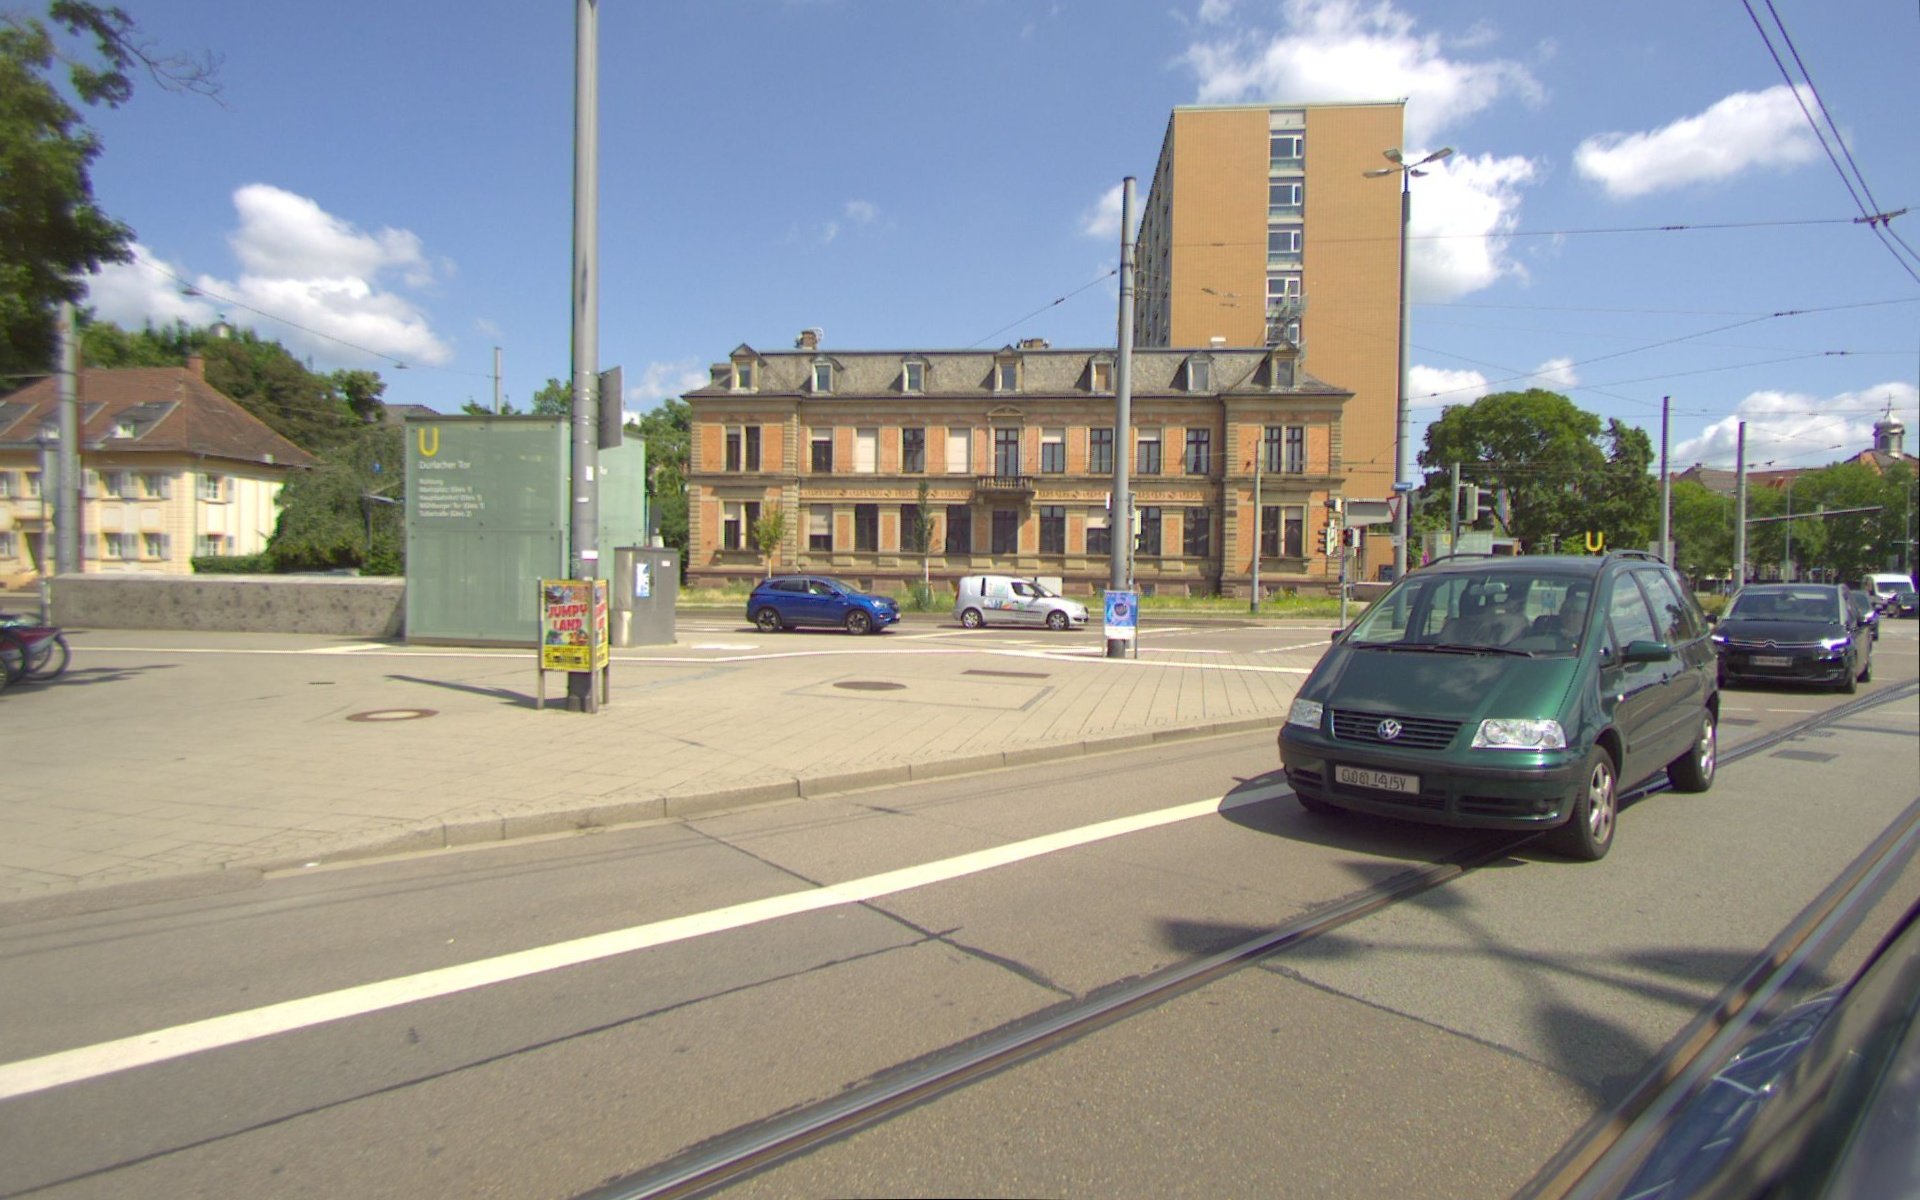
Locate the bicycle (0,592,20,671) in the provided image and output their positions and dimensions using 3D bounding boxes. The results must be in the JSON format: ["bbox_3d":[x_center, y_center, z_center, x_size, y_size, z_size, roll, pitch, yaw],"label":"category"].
[{"bbox_3d":[-14.388,0.446,13.580,2.526,1.066,0.794,-1,3,-38],"label":"bicycle"}]

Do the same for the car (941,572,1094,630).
[{"bbox_3d":[1.768,-0.001,30.475,4.358,1.607,1.868,1,1,12],"label":"car"}]

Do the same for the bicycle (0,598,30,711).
[{"bbox_3d":[-10.826,0.562,10.062,2.222,1.095,1.028,-1,3,-37],"label":"bicycle"}]

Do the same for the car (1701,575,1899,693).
[{"bbox_3d":[13.482,0.455,16.153,4.352,1.637,1.870,-1,0,-43],"label":"car"}]

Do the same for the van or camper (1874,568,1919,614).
[{"bbox_3d":[59.347,-0.550,63.648,2.221,2.769,5.447,2,1,37],"label":"van or camper"}]

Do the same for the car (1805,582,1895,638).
[{"bbox_3d":[26.225,0.227,29.779,1.868,1.504,4.358,2,2,43],"label":"car"}]

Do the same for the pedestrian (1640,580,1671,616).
[{"bbox_3d":[35.032,-0.110,50.976,1.010,1.741,0.726,0,1,10],"label":"pedestrian"}]

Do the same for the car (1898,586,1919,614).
[{"bbox_3d":[53.505,0.011,56.024,1.891,1.482,4.204,2,2,37],"label":"car"}]

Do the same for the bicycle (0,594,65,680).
[{"bbox_3d":[-13.422,0.496,13.214,2.526,1.104,0.794,-1,3,-38],"label":"bicycle"}]

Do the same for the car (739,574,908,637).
[{"bbox_3d":[-3.811,0.113,28.535,4.360,1.569,1.868,1,3,13],"label":"car"}]

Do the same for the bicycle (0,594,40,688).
[{"bbox_3d":[-12.441,0.504,11.758,2.526,1.083,0.794,-1,3,-38],"label":"bicycle"}]

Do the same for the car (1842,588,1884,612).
[{"bbox_3d":[63.341,0.009,71.023,1.771,1.594,3.910,2,1,36],"label":"car"}]

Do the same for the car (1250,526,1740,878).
[{"bbox_3d":[3.894,0.477,7.042,4.017,1.739,1.816,-1,0,-43],"label":"car"}]

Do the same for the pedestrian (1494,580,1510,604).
[{"bbox_3d":[38.108,-0.545,71.100,0.826,1.646,0.757,2,1,39],"label":"pedestrian"}]

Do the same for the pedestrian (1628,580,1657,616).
[{"bbox_3d":[34.961,-0.125,51.836,1.010,1.835,0.726,0,1,10],"label":"pedestrian"}]

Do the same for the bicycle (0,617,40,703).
[{"bbox_3d":[-11.502,0.644,10.919,2.245,0.890,0.844,2,1,-38],"label":"bicycle"}]

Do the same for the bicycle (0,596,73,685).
[{"bbox_3d":[-12.776,0.517,12.616,2.526,1.066,0.794,-1,3,-38],"label":"bicycle"}]
